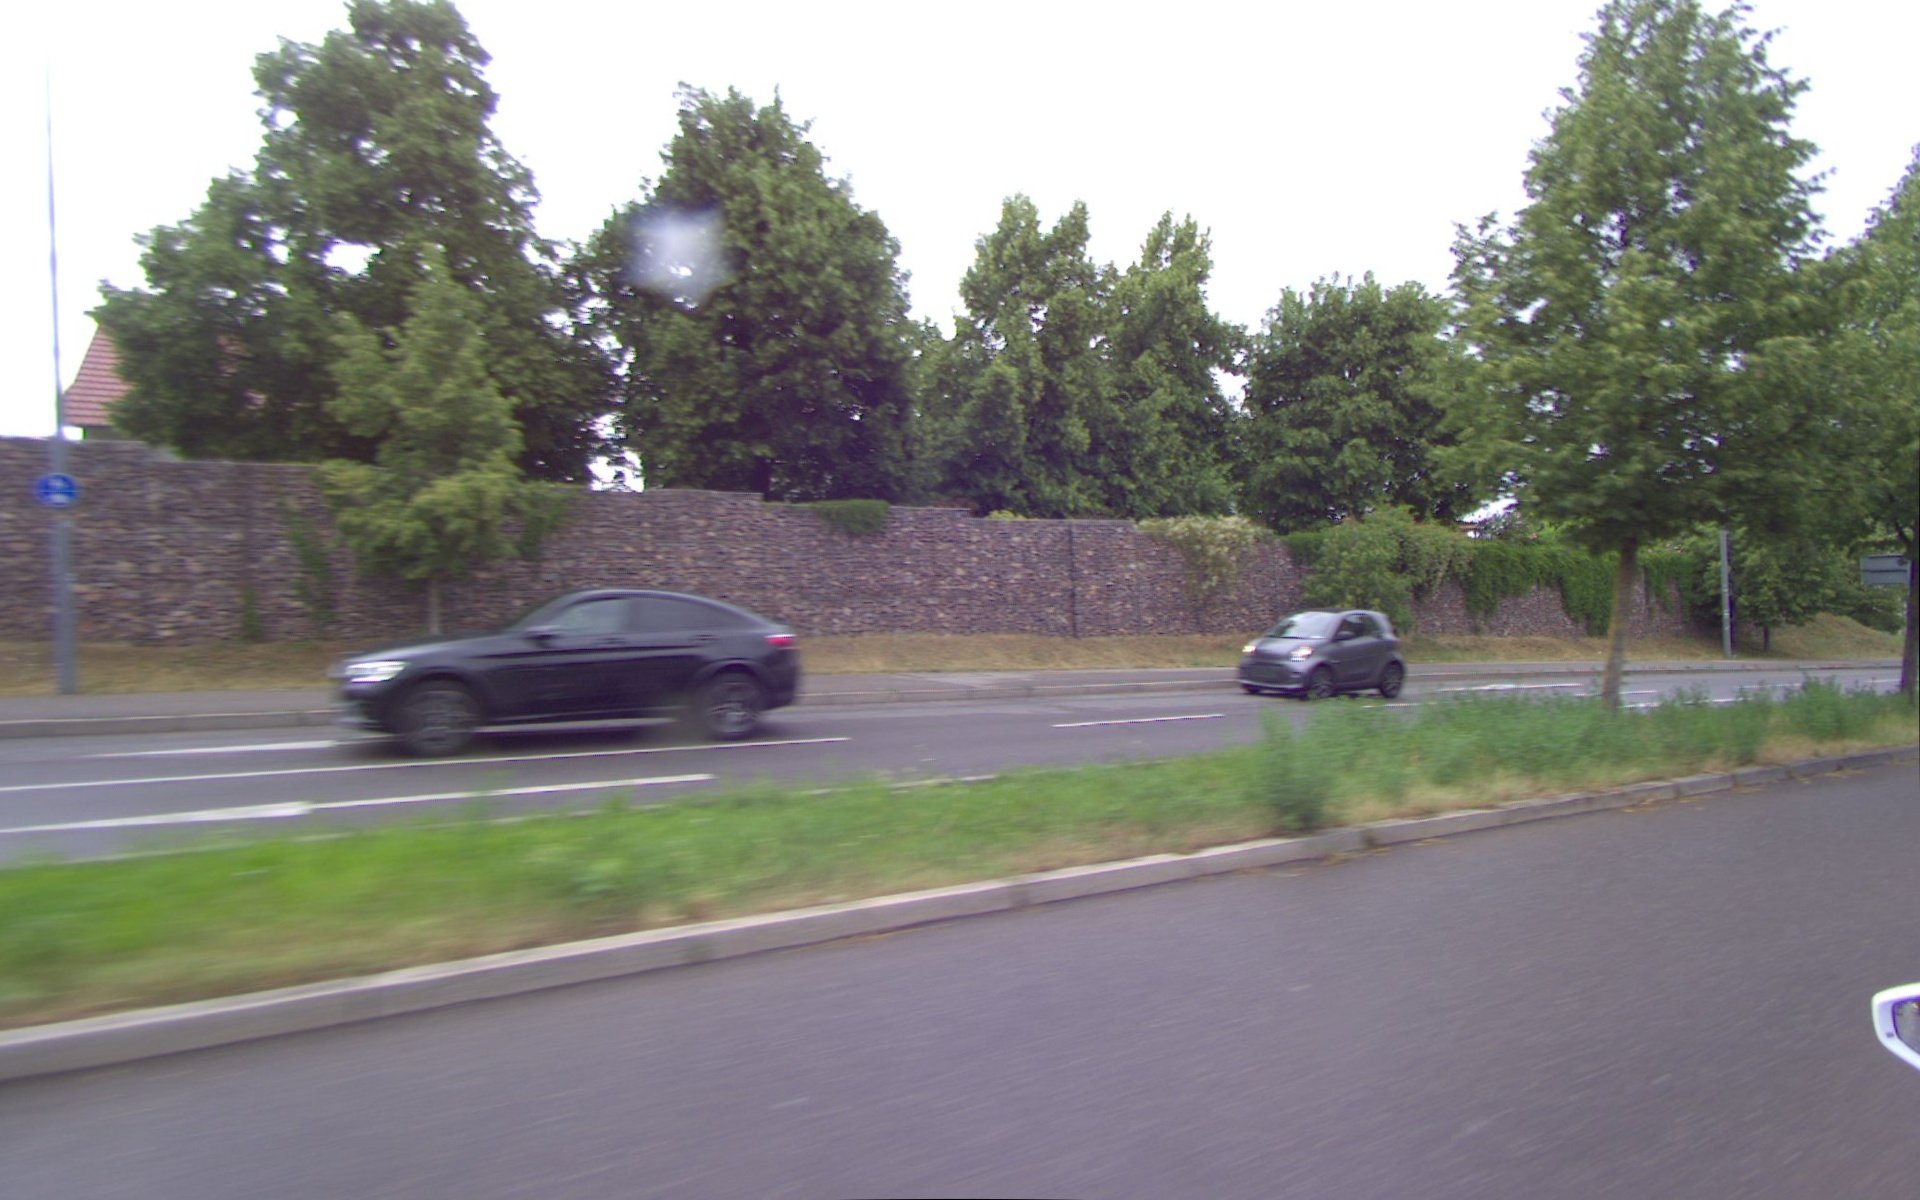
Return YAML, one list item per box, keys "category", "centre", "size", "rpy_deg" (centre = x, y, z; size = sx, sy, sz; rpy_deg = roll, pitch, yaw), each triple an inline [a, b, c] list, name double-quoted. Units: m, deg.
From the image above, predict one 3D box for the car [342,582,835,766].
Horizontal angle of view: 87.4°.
- category: "car"
  centre: [-3.905, 0.682, 10.866]
  size: [4.715, 1.616, 1.870]
  rpy_deg: [1, 0, -33]

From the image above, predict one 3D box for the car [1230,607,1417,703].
- category: "car"
  centre: [6.417, 0.900, 17.746]
  size: [2.882, 1.560, 1.678]
  rpy_deg: [0, 0, -30]
